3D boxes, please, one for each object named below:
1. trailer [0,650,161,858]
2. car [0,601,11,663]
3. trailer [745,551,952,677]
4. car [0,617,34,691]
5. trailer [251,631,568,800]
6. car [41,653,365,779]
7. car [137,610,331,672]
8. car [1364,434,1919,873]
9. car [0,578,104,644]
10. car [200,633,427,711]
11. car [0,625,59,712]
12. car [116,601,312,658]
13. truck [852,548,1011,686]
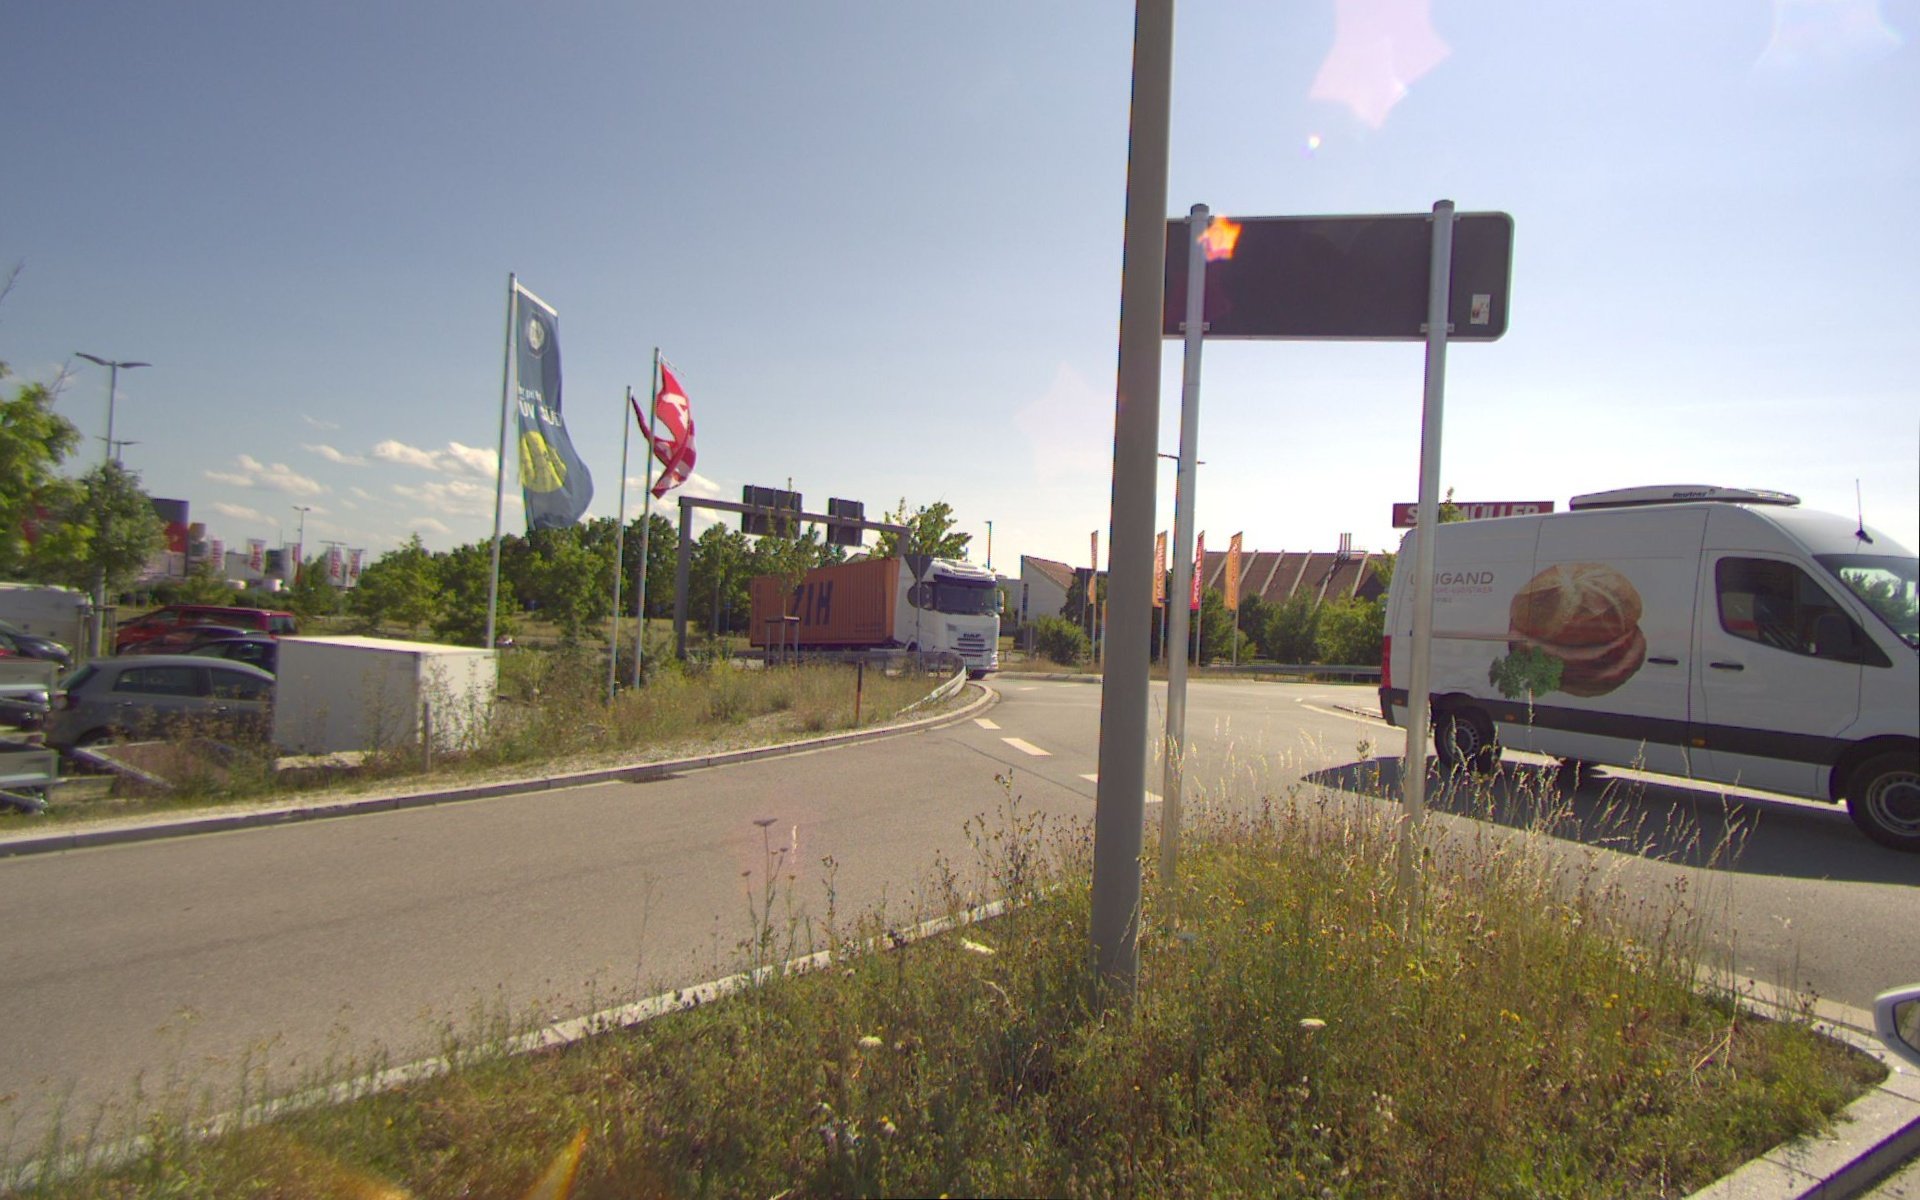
[{"bbox_3d":[-10.673,1.496,10.589,3.623,1.795,1.808,2,0,19],"label":"trailer"},{"bbox_3d":[-25.354,0.730,23.783,3.964,1.483,1.806,3,0,-37],"label":"car"},{"bbox_3d":[-4.834,0.492,39.533,2.535,4.209,12.241,2,-1,-34],"label":"trailer"},{"bbox_3d":[-22.042,1.097,20.818,3.964,1.483,1.806,3,0,-37],"label":"car"},{"bbox_3d":[-7.584,1.483,13.917,3.624,1.795,1.808,4,1,19],"label":"trailer"},{"bbox_3d":[-11.339,1.646,15.246,3.713,1.572,1.724,3,0,-40],"label":"car"},{"bbox_3d":[-20.081,1.119,27.932,3.925,1.483,1.823,2,0,-6],"label":"car"},{"bbox_3d":[6.721,0.373,8.988,2.054,2.960,6.106,2,0,-22],"label":"car"},{"bbox_3d":[-30.645,0.347,32.599,4.316,2.040,1.881,3,0,-41],"label":"car"},{"bbox_3d":[-14.888,1.650,23.325,3.926,1.483,1.824,4,-2,-6],"label":"car"},{"bbox_3d":[-18.032,1.148,17.074,3.971,1.483,1.803,3,-3,-42],"label":"car"},{"bbox_3d":[-22.463,0.874,30.381,4.372,1.483,1.823,2,0,-6],"label":"car"},{"bbox_3d":[-1.131,0.538,33.784,2.631,4.161,6.385,2,-1,-29],"label":"truck"}]
